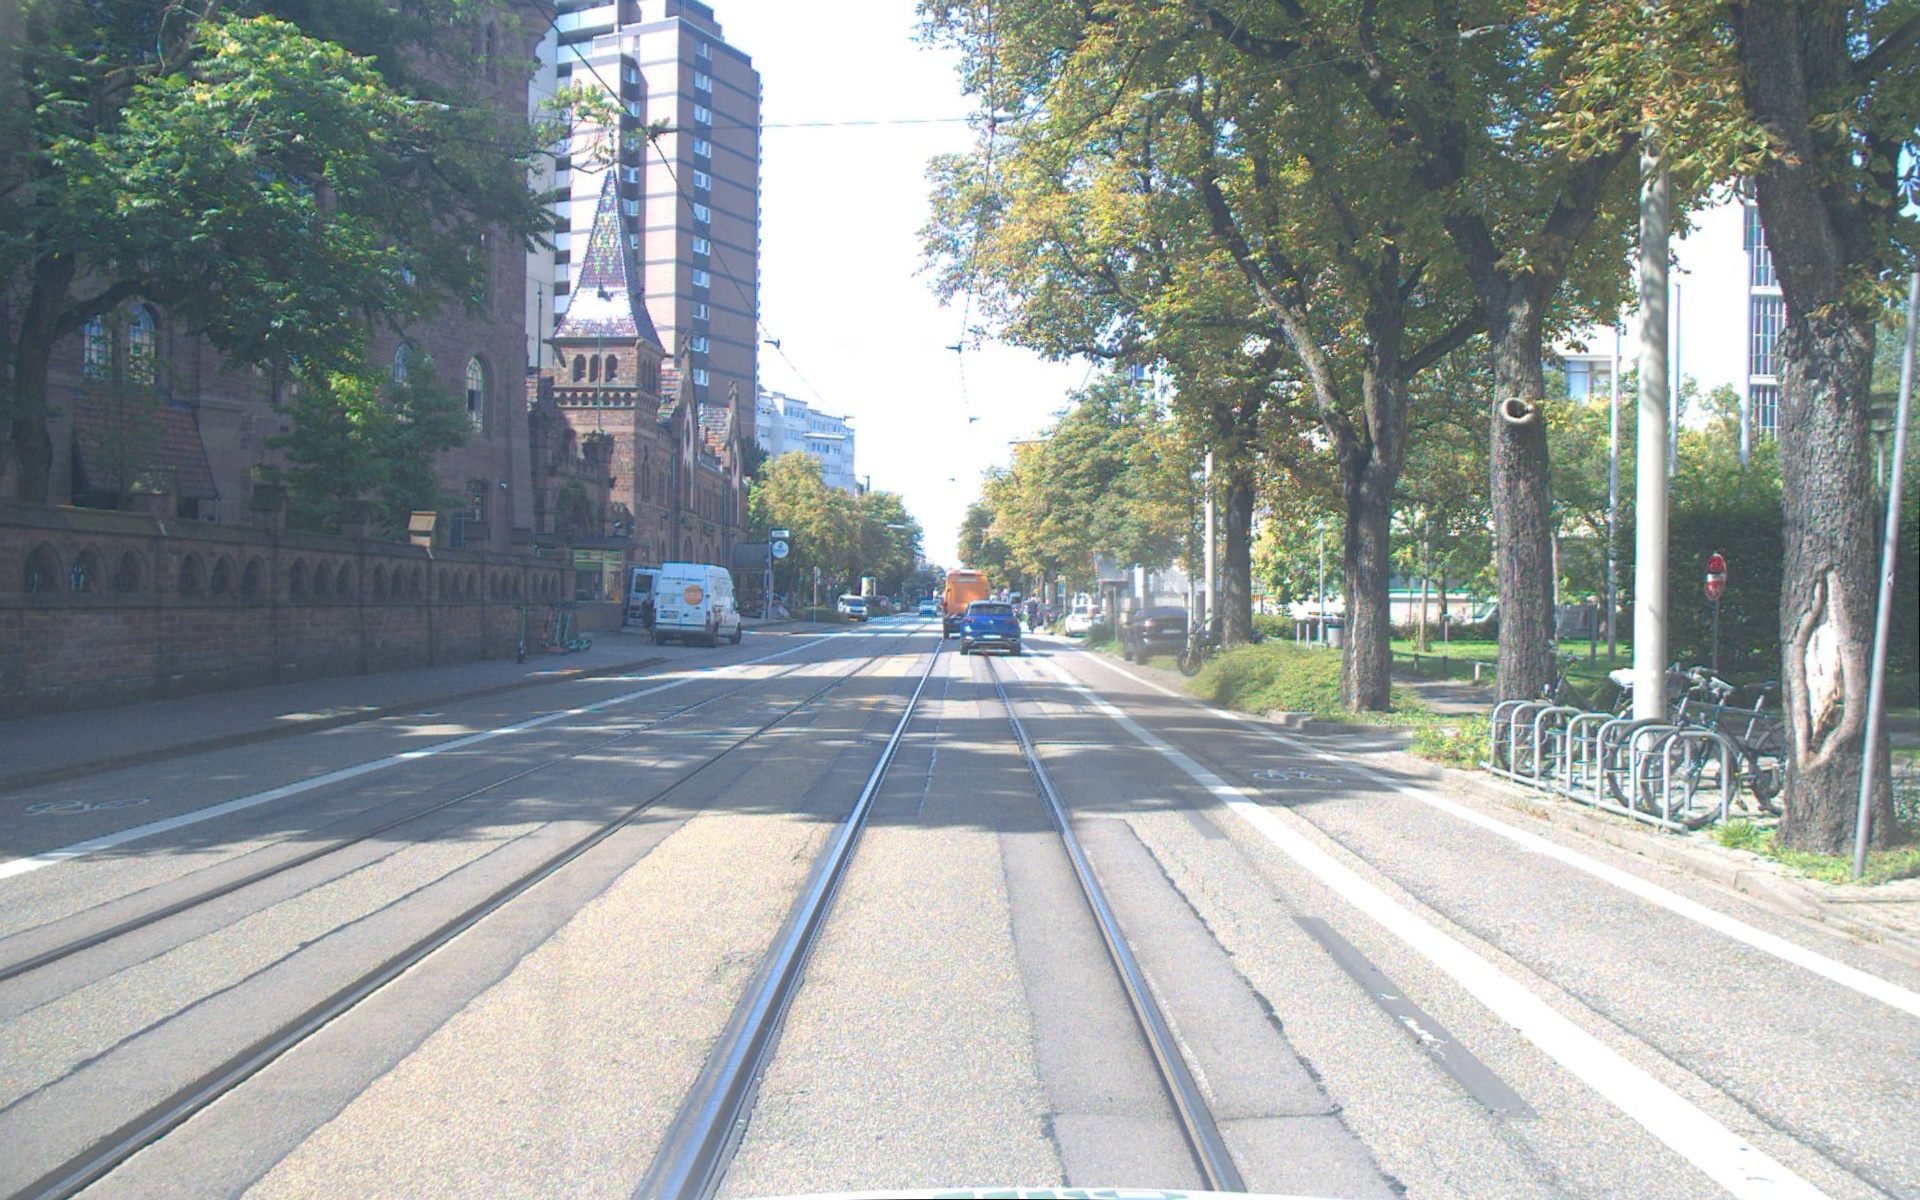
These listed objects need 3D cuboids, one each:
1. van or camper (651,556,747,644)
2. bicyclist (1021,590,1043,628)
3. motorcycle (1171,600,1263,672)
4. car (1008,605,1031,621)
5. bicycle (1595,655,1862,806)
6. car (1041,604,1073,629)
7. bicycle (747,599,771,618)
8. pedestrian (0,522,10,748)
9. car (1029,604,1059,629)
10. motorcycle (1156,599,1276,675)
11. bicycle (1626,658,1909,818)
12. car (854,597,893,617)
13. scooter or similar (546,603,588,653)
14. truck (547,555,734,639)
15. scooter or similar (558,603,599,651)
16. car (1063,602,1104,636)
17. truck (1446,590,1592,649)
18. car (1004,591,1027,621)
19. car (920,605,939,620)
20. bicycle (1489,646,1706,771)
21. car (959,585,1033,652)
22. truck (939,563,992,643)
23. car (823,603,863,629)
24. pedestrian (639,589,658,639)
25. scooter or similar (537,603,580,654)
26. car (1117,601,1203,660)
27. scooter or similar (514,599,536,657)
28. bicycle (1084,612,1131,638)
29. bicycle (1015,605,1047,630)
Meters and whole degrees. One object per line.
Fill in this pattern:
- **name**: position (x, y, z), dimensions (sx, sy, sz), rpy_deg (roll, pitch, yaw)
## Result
- **van or camper**: position (-8.635, 0.005, 55.184), dimensions (2.069, 2.722, 5.956), rpy_deg (1, 0, 1)
- **bicyclist**: position (3.543, 0.461, 81.824), dimensions (1.010, 1.844, 1.016), rpy_deg (1, 0, 0)
- **motorcycle**: position (5.708, 0.776, 36.952), dimensions (0.839, 1.542, 2.436), rpy_deg (1, 0, -24)
- **car**: position (5.385, 1.181, 150.440), dimensions (1.869, 1.457, 4.291), rpy_deg (1, 0, -1)
- **bicycle**: position (5.695, 0.959, 12.299), dimensions (1.735, 1.068, 0.540), rpy_deg (0, 0, -1)
- **car**: position (5.568, 0.933, 95.179), dimensions (1.625, 1.432, 4.217), rpy_deg (0, 0, 0)
- **bicycle**: position (-12.519, 0.535, 102.979), dimensions (1.422, 1.112, 0.399), rpy_deg (4, -1, -4)
- **pedestrian**: position (-9.113, 0.315, 14.615), dimensions (0.846, 2.049, 0.983), rpy_deg (1, 0, -2)
- **car**: position (5.404, 1.067, 106.728), dimensions (1.707, 1.583, 4.217), rpy_deg (0, 0, 0)
- **motorcycle**: position (5.444, 0.769, 35.251), dimensions (2.408, 1.542, 0.849), rpy_deg (1, 0, 39)
- **bicycle**: position (5.651, 0.957, 11.621), dimensions (1.735, 1.068, 0.540), rpy_deg (0, 0, -1)
- **car**: position (-9.410, 0.796, 179.627), dimensions (3.968, 2.049, 1.828), rpy_deg (1, 0, -43)
- **scooter or similar**: position (-9.621, 0.676, 40.484), dimensions (0.333, 1.199, 1.177), rpy_deg (1, 0, 25)
- **truck**: position (-11.546, -0.136, 60.026), dimensions (6.188, 2.582, 2.132), rpy_deg (4, 1, 5)
- **scooter or similar**: position (-9.604, 0.678, 41.619), dimensions (0.333, 1.199, 1.177), rpy_deg (1, 0, 25)
- **car**: position (5.694, 0.876, 76.798), dimensions (1.625, 1.507, 4.217), rpy_deg (0, 0, 0)
- **truck**: position (23.448, 0.813, 69.526), dimensions (5.393, 2.366, 2.299), rpy_deg (1, 0, 1)
- **car**: position (5.403, 0.586, 161.037), dimensions (1.953, 2.804, 5.760), rpy_deg (1, 0, -1)
- **car**: position (-3.092, 1.285, 169.394), dimensions (1.809, 1.518, 4.867), rpy_deg (0, 0, 1)
- **bicycle**: position (5.679, 0.962, 14.779), dimensions (1.735, 1.068, 0.540), rpy_deg (0, 0, -1)
- **car**: position (1.031, 0.532, 49.527), dimensions (2.092, 1.891, 5.568), rpy_deg (0, 0, 0)
- **truck**: position (0.231, 0.129, 68.815), dimensions (2.092, 3.179, 6.084), rpy_deg (0, 0, 0)
- **car**: position (-8.730, 1.173, 123.436), dimensions (1.724, 1.828, 3.970), rpy_deg (1, 0, -24)
- **pedestrian**: position (-10.107, 0.451, 53.628), dimensions (0.487, 1.627, 0.552), rpy_deg (1, 0, 1)
- **scooter or similar**: position (-9.536, 0.677, 39.313), dimensions (0.333, 1.199, 1.177), rpy_deg (1, 0, 25)
- **car**: position (5.487, 0.818, 45.917), dimensions (1.720, 1.542, 4.608), rpy_deg (0, 0, -1)
- **scooter or similar**: position (-9.216, 0.586, 35.012), dimensions (0.413, 1.199, 1.311), rpy_deg (1, 0, -15)
- **bicycle**: position (5.714, 0.977, 64.038), dimensions (1.775, 0.975, 0.558), rpy_deg (1, 0, 0)
- **bicycle**: position (3.503, 0.848, 81.846), dimensions (1.373, 1.154, 4.000), rpy_deg (1, 0, 0)
